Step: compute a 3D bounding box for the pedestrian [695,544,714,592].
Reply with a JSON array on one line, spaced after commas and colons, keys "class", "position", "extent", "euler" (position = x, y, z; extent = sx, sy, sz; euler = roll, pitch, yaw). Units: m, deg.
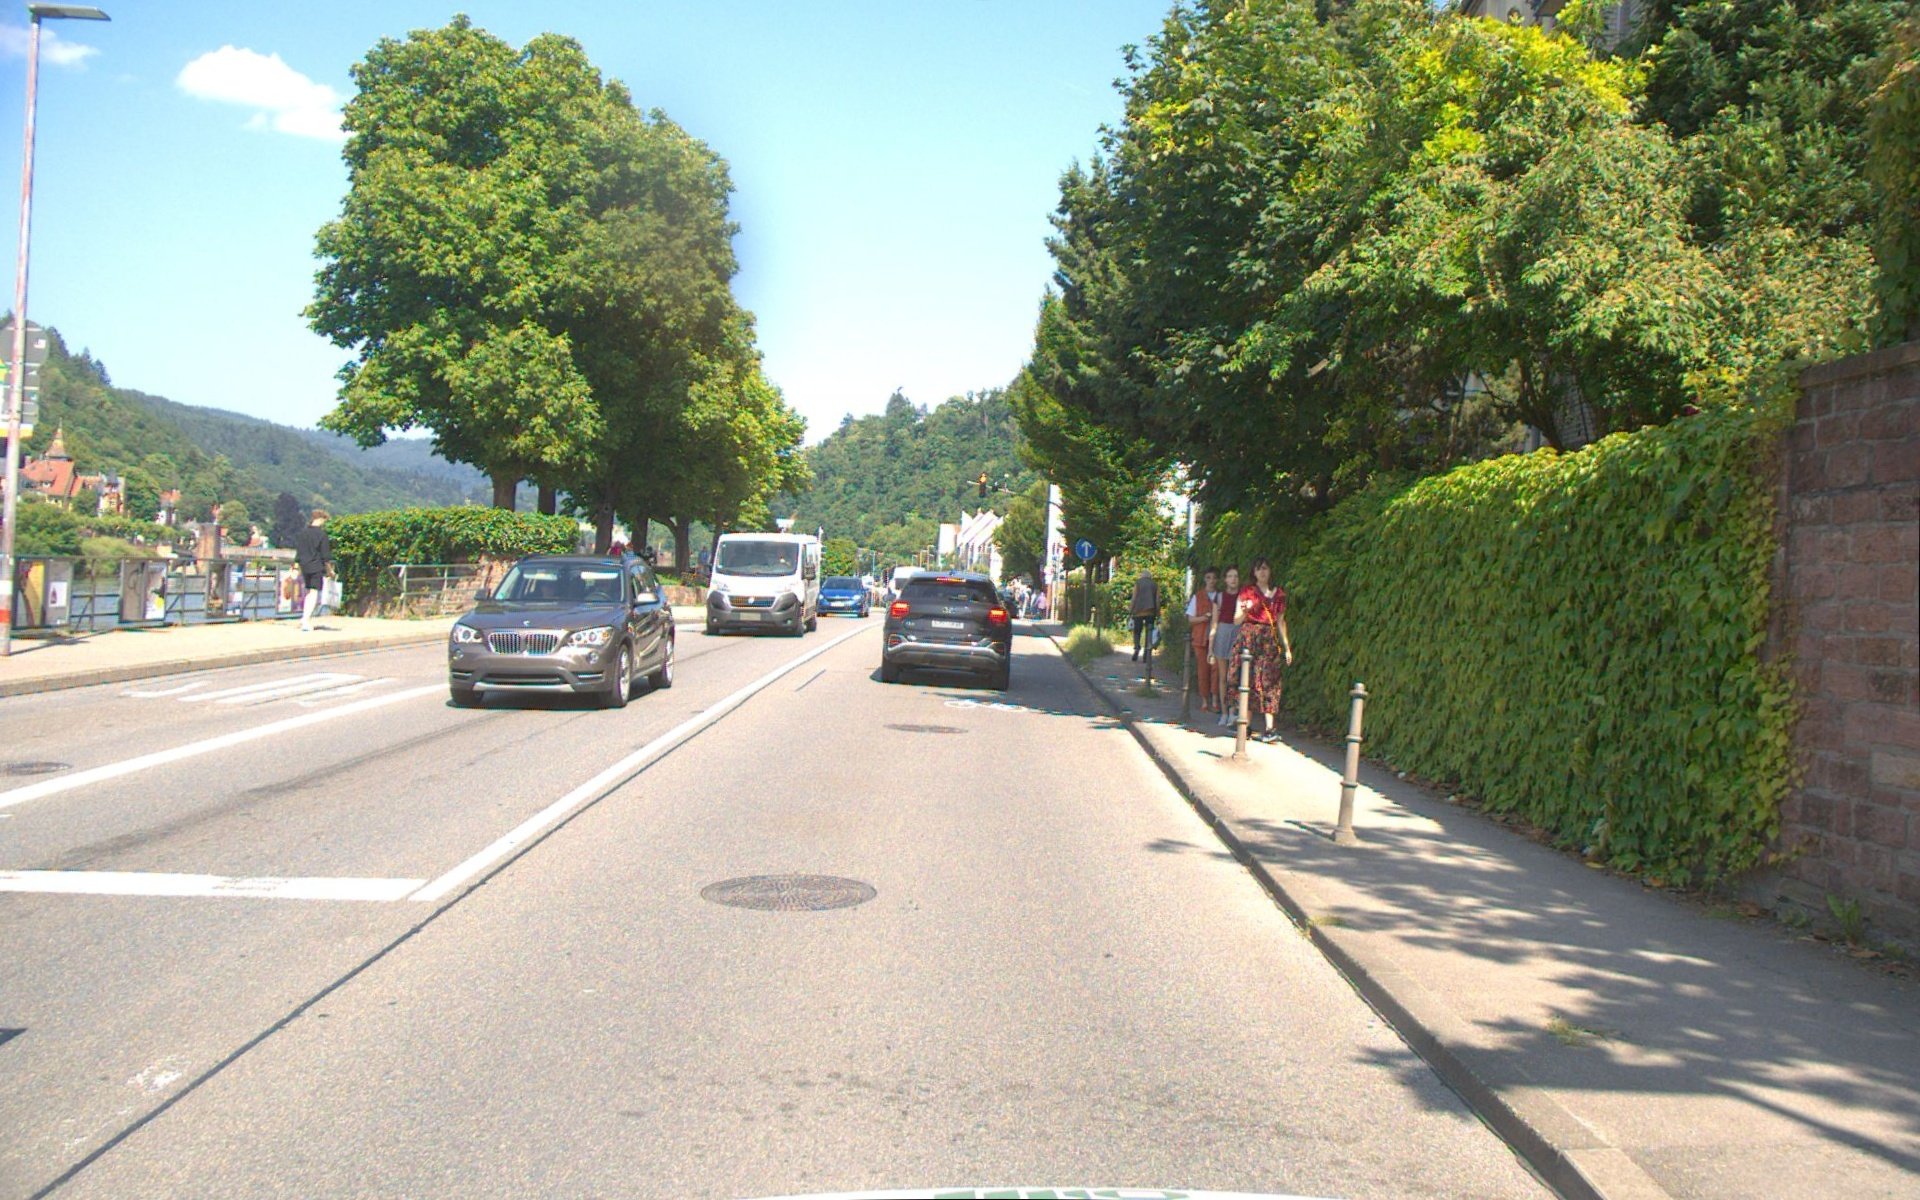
[{"class": "pedestrian", "position": [-11.007, -1.368, 71.239], "extent": [0.627, 2.049, 0.730], "euler": [2, -1, 0]}]

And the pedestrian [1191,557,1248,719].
[{"class": "pedestrian", "position": [2.675, 0.383, 17.078], "extent": [0.446, 1.634, 0.579], "euler": [2, 0, 0]}]

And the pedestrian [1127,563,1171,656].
[{"class": "pedestrian", "position": [3.457, 0.173, 30.318], "extent": [0.713, 1.679, 0.882], "euler": [0, 0, 0]}]

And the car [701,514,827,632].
[{"class": "car", "position": [-4.237, -0.620, 36.669], "extent": [2.053, 2.342, 5.869], "euler": [2, 1, 0]}]

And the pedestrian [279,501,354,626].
[{"class": "pedestrian", "position": [-10.317, -0.563, 26.542], "extent": [0.738, 1.951, 1.009], "euler": [2, -1, 0]}]

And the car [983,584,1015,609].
[{"class": "car", "position": [2.507, -0.227, 106.844], "extent": [1.953, 1.478, 4.008], "euler": [2, -1, 0]}]

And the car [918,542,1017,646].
[{"class": "car", "position": [0.145, -0.184, 35.674], "extent": [1.953, 2.048, 4.001], "euler": [2, 2, 0]}]

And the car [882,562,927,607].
[{"class": "car", "position": [-3.335, -0.909, 100.496], "extent": [2.443, 2.509, 5.619], "euler": [2, -1, 0]}]

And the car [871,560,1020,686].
[{"class": "car", "position": [-0.115, 0.294, 23.609], "extent": [1.818, 1.550, 4.001], "euler": [3, 0, 3]}]

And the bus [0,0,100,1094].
[{"class": "bus", "position": [-3.631, -0.156, 0.392], "extent": [2.544, 2.947, 8.446], "euler": [2, 1, -1]}]

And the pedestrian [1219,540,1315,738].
[{"class": "pedestrian", "position": [2.856, 0.345, 15.454], "extent": [0.667, 1.772, 0.913], "euler": [2, 1, 0]}]

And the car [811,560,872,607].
[{"class": "car", "position": [-4.196, -0.567, 59.204], "extent": [1.860, 1.515, 3.795], "euler": [2, -1, 0]}]

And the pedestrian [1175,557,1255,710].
[{"class": "pedestrian", "position": [2.875, 0.363, 18.732], "extent": [0.720, 1.662, 0.920], "euler": [2, 1, 0]}]

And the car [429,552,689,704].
[{"class": "car", "position": [-4.206, 0.210, 18.045], "extent": [1.778, 1.422, 4.347], "euler": [1, 2, -1]}]

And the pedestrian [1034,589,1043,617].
[{"class": "pedestrian", "position": [4.419, 0.174, 93.139], "extent": [0.479, 1.586, 0.461], "euler": [2, -1, 0]}]
